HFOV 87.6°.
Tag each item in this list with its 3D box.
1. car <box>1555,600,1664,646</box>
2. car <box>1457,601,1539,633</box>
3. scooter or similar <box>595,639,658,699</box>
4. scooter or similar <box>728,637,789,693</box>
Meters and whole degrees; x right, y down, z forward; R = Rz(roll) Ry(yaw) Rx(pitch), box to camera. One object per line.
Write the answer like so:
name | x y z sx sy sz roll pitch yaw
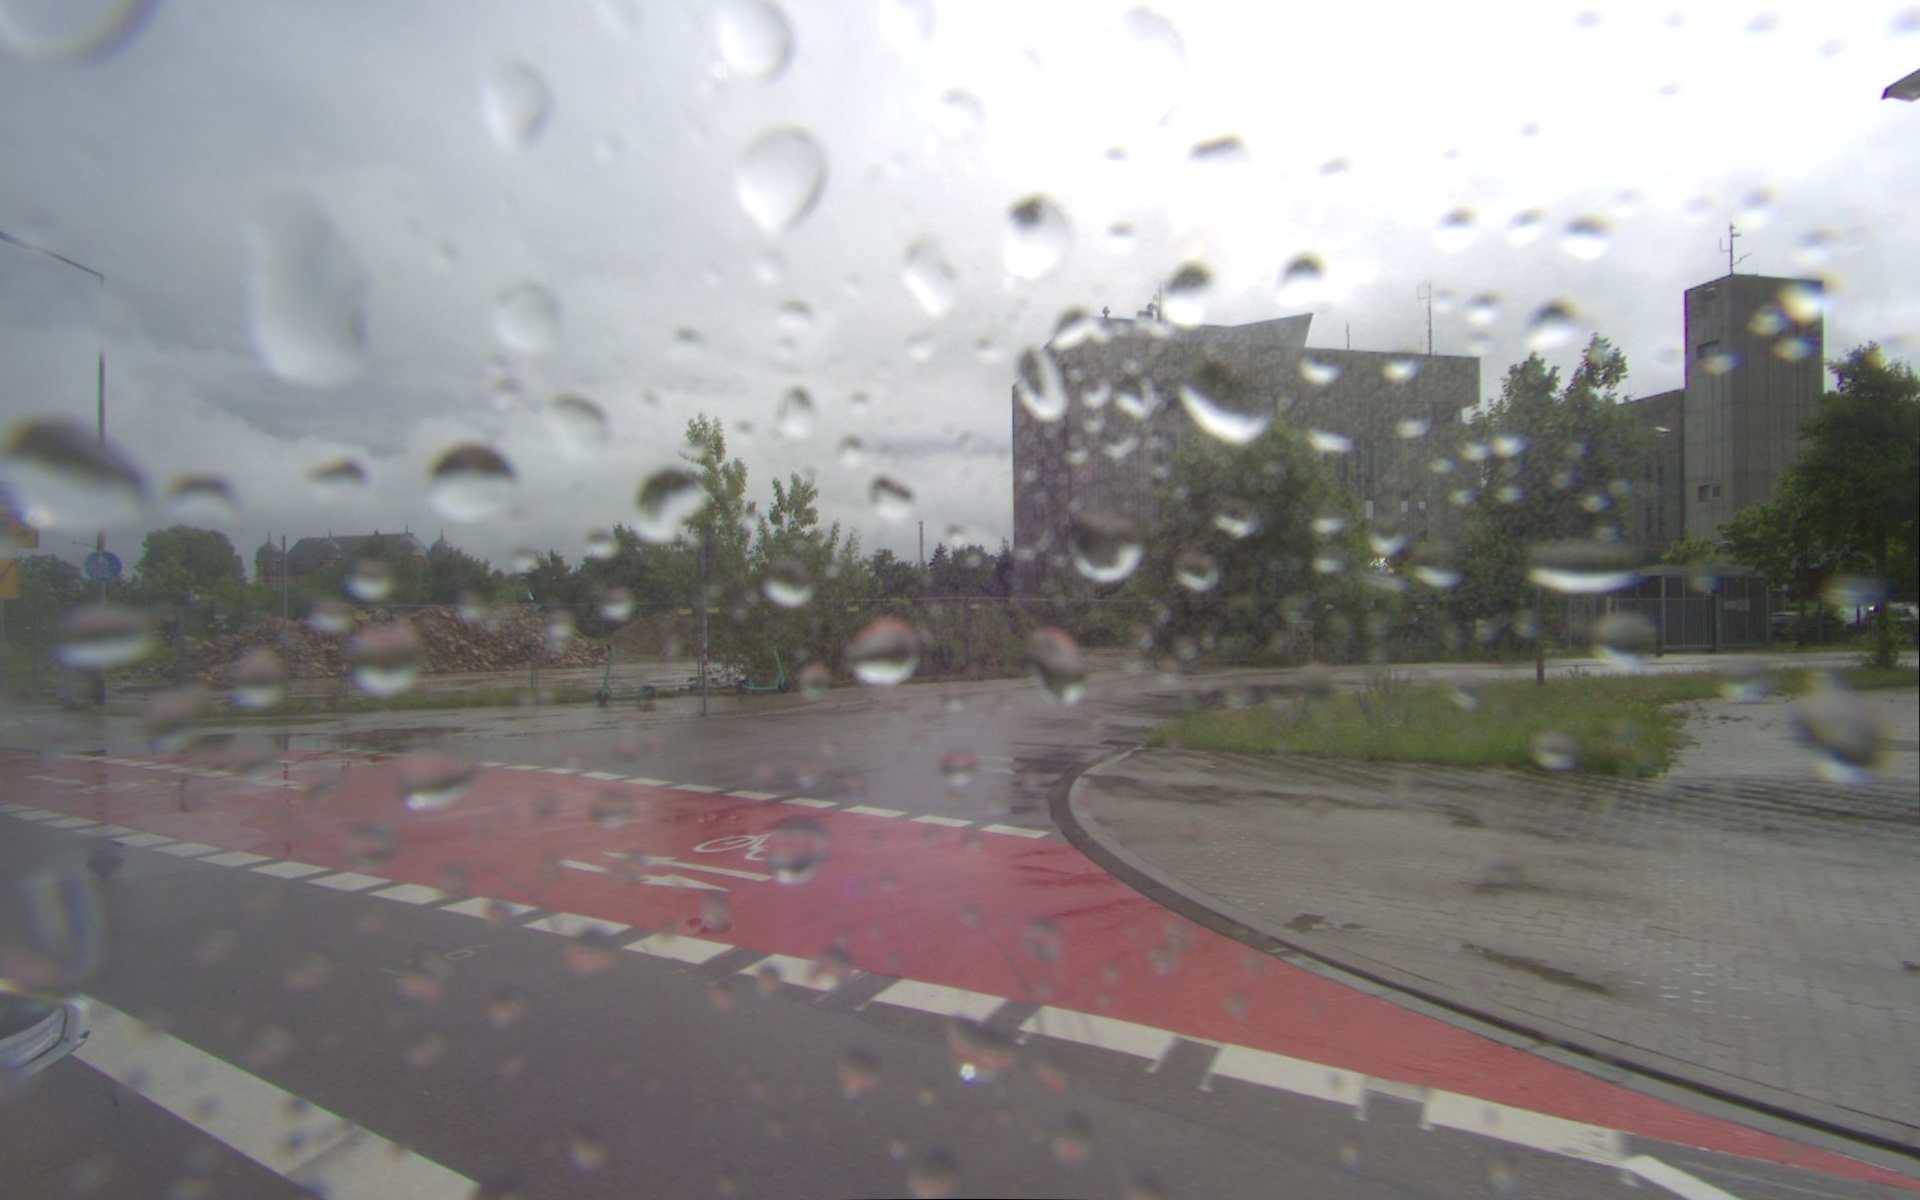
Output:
car | 29.519 1.029 45.578 3.926 2.040 1.998 0 -1 -13
car | 27.798 0.894 51.740 3.583 1.632 1.549 0 -1 -13
scooter or similar | -6.735 1.377 20.220 1.175 1.165 0.481 0 0 -22
scooter or similar | -4.399 1.395 21.809 1.175 1.165 0.745 0 0 -22
